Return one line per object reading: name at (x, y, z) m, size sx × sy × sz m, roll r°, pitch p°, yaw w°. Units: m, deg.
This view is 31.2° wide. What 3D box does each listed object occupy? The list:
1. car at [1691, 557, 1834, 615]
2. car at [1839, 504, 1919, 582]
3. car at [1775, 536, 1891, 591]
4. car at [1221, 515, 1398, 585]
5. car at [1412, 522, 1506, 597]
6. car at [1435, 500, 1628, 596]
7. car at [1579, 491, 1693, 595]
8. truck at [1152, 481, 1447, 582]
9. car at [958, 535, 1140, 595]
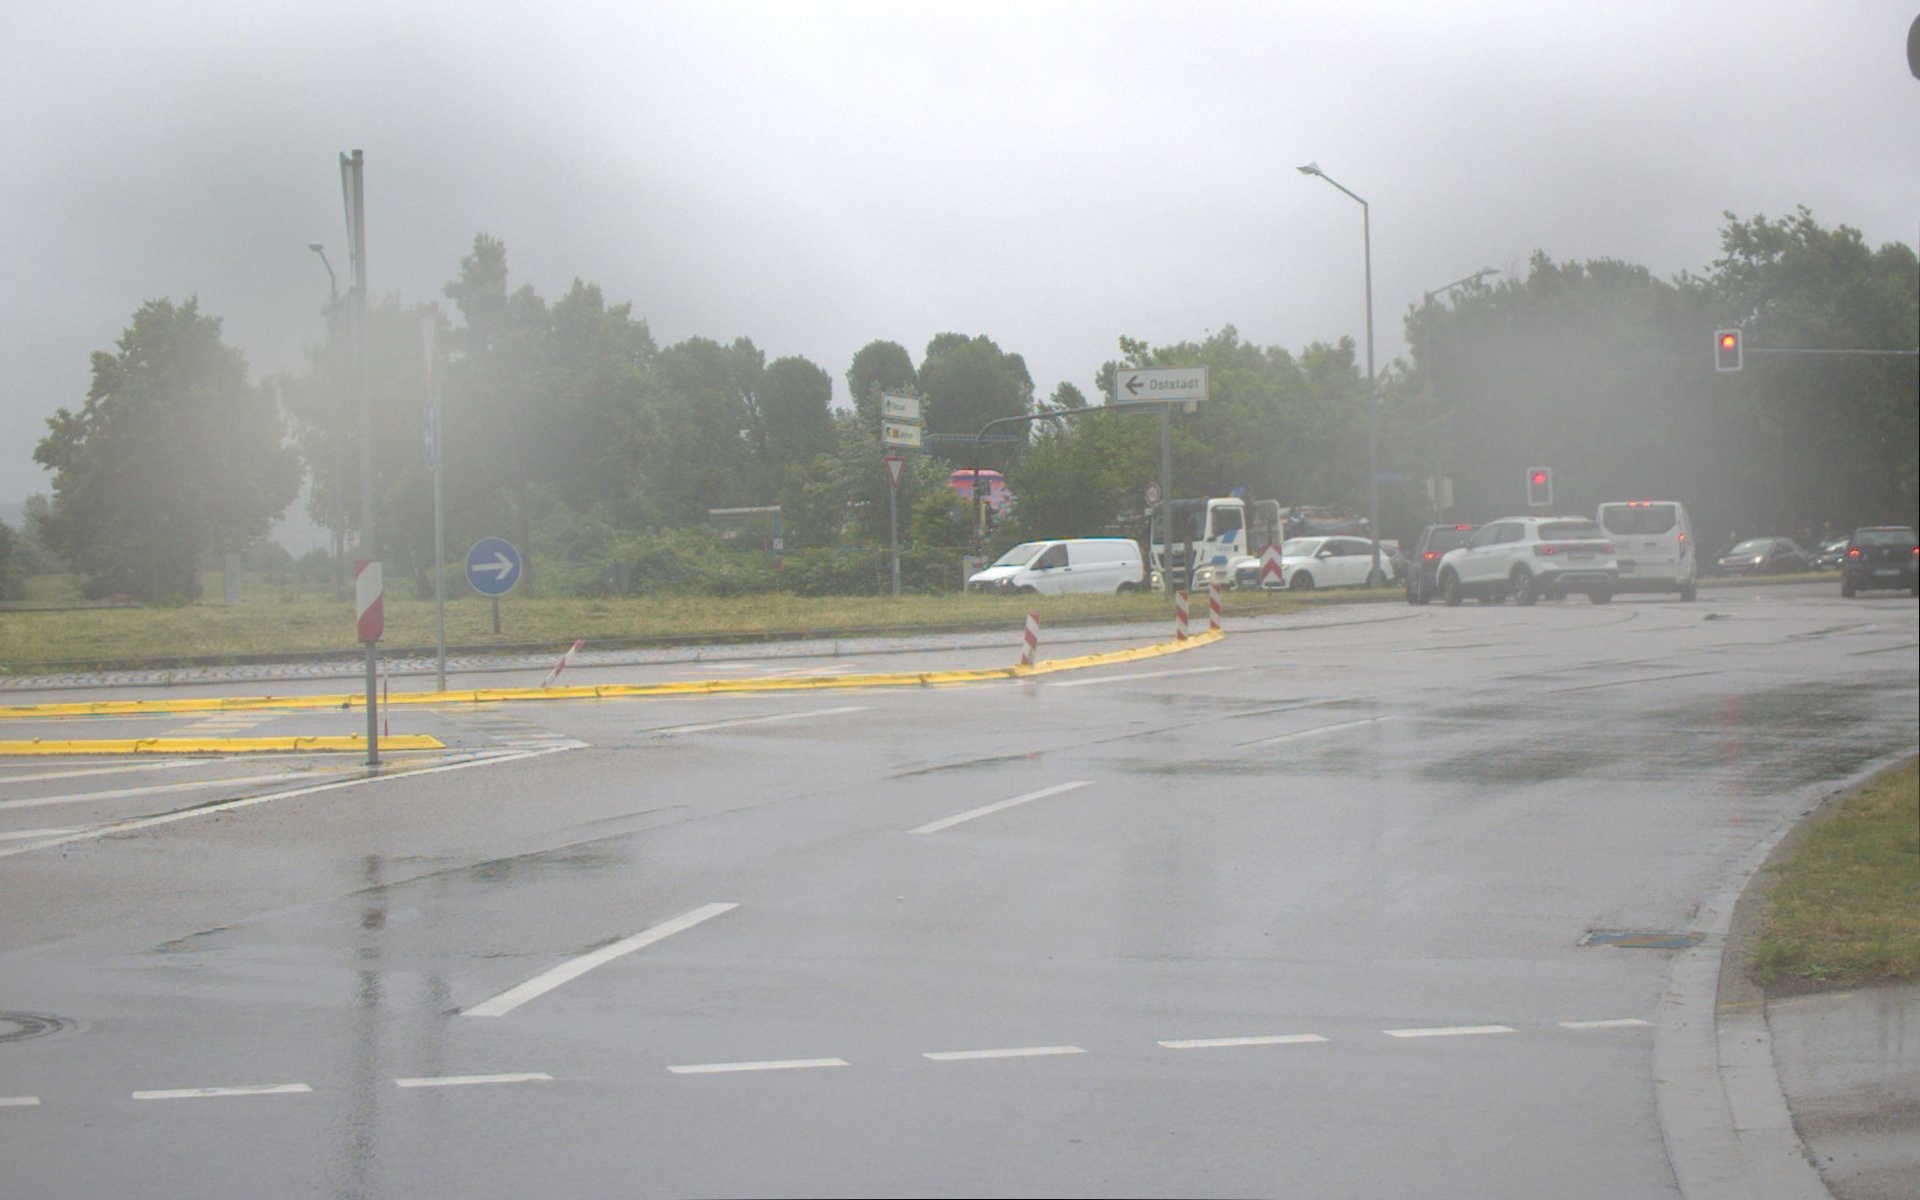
car at (25.086, -0.435, 107.391) m, size 4.852 × 1.738 × 1.777 m, roll 0°, pitch 1°, yaw -40°
car at (18.336, -1.148, 67.908) m, size 1.689 × 1.487 × 3.250 m, roll -1°, pitch 1°, yaw 11°
car at (28.589, -1.182, 112.494) m, size 1.998 × 1.744 × 3.990 m, roll 1°, pitch 1°, yaw 43°
car at (9.041, -1.279, 88.654) m, size 4.853 × 1.738 × 1.777 m, roll 0°, pitch 1°, yaw -44°
car at (10.230, -0.822, 70.647) m, size 1.689 × 1.487 × 3.250 m, roll 1°, pitch 1°, yaw 5°
car at (10.208, -0.933, 61.630) m, size 1.680 × 1.642 × 3.948 m, roll 1°, pitch 1°, yaw -20°
car at (13.654, -1.138, 69.612) m, size 1.783 × 2.029 × 3.999 m, roll 1°, pitch 1°, yaw 5°
truck at (9.649, -1.907, 97.257) m, size 8.768 × 2.702 × 2.000 m, roll 0°, pitch 1°, yaw -30°
car at (2.298, -0.892, 87.906) m, size 4.534 × 1.487 × 1.611 m, roll 0°, pitch 1°, yaw -34°
